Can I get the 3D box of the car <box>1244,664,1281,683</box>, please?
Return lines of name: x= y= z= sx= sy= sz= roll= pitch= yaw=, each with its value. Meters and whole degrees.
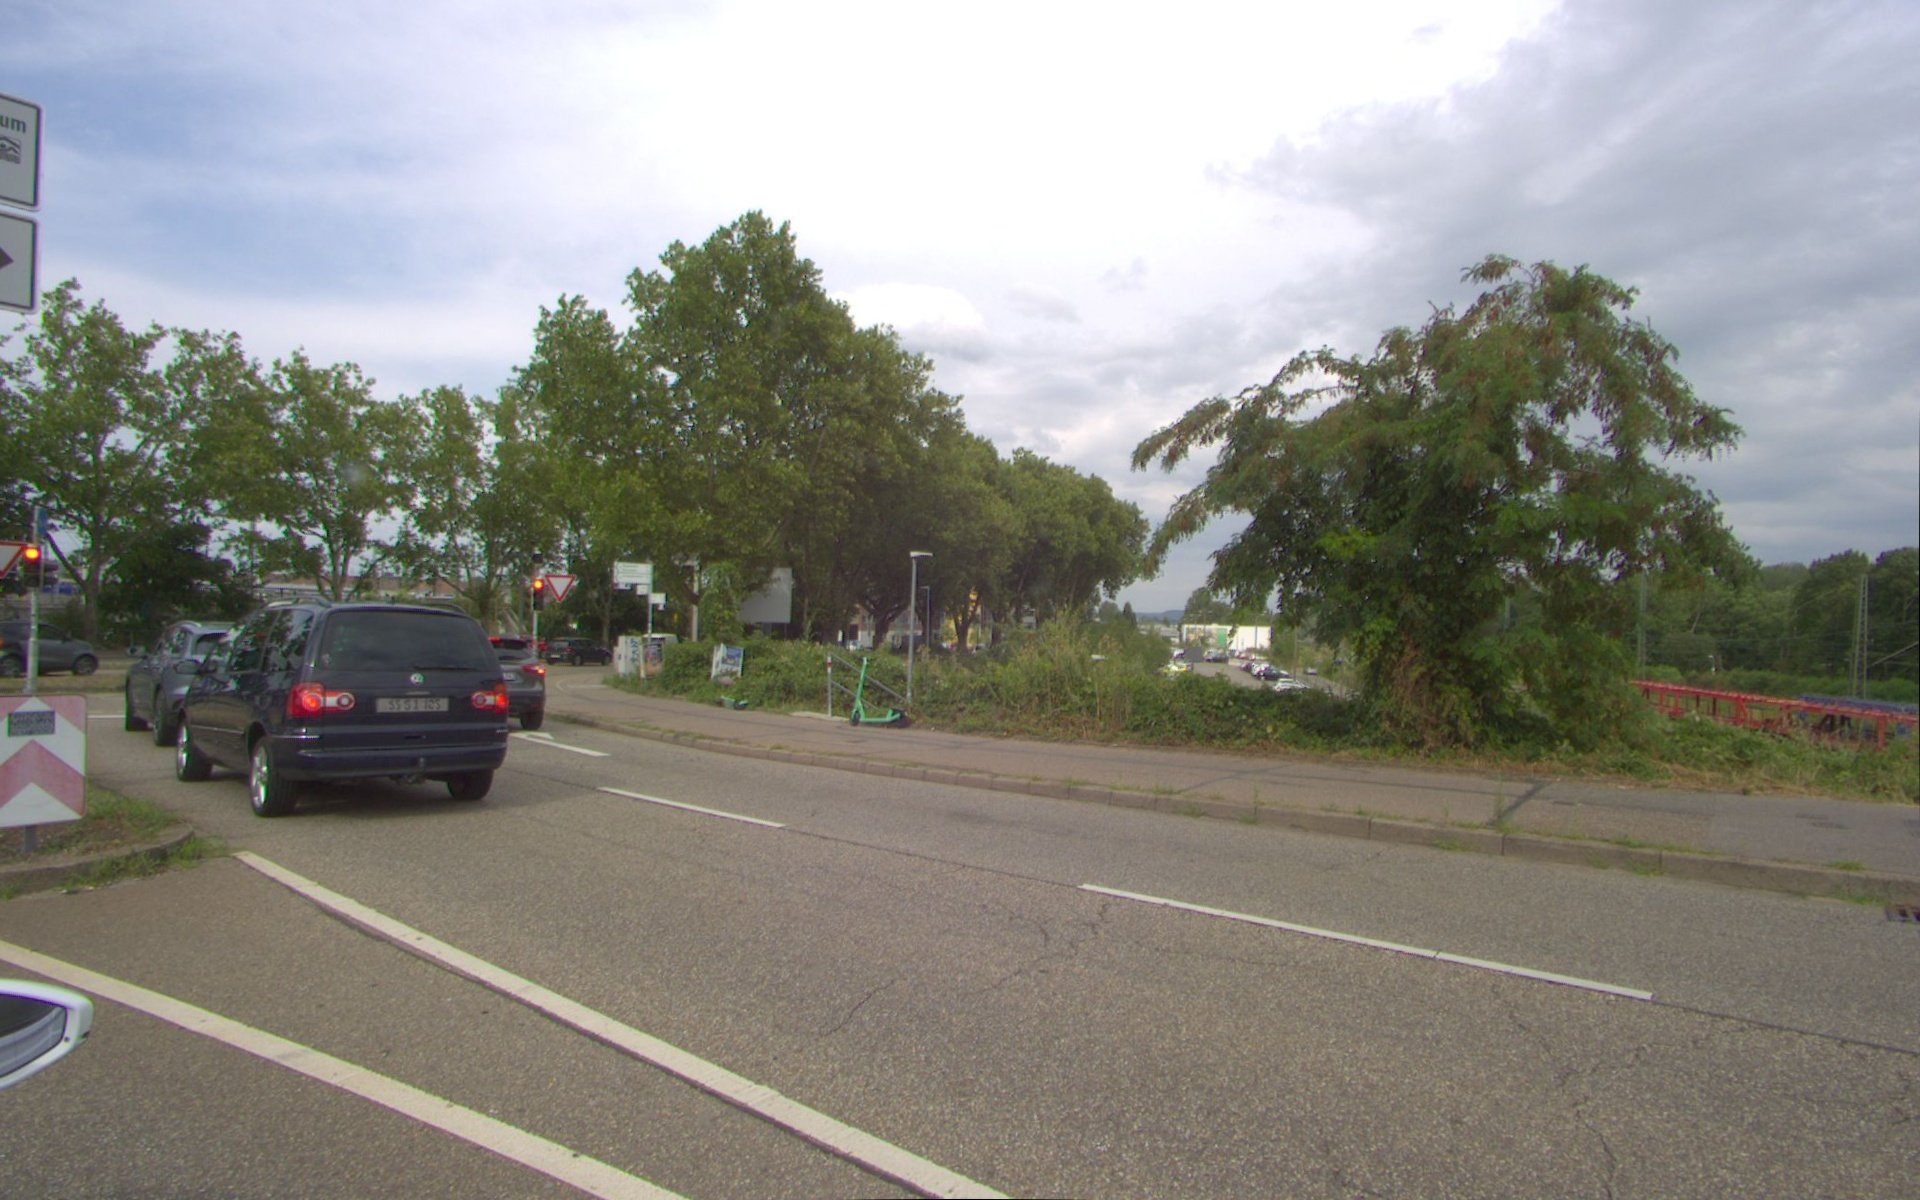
car: x=36.124 y=8.770 z=119.576 sx=3.923 sy=2.040 sz=1.762 roll=1 pitch=-1 yaw=10

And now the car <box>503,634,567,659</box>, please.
car: x=-26.515 y=2.856 z=62.603 sx=1.670 sy=1.466 sz=3.963 roll=1 pitch=-1 yaw=12

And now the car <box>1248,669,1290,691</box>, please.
car: x=32.113 y=8.310 z=104.247 sx=3.923 sy=2.040 sz=1.762 roll=1 pitch=-1 yaw=10

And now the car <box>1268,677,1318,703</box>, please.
car: x=28.972 y=7.830 z=87.183 sx=3.923 sy=2.040 sz=1.762 roll=1 pitch=-1 yaw=10

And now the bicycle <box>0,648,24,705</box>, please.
bicycle: x=-17.196 y=1.315 z=16.683 sx=0.797 sy=0.965 sz=2.232 roll=0 pitch=-1 yaw=17

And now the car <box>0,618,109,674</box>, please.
car: x=-25.389 y=1.236 z=27.518 sx=1.471 sy=1.440 sz=2.719 roll=1 pitch=-1 yaw=12

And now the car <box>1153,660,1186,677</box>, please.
car: x=26.718 y=8.728 z=127.672 sx=3.926 sy=2.040 sz=1.761 roll=1 pitch=-1 yaw=16

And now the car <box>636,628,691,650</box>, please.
car: x=-21.073 y=2.777 z=71.412 sx=1.729 sy=1.466 sz=4.339 roll=0 pitch=-1 yaw=16

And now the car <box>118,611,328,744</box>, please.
car: x=-10.536 y=1.041 z=14.201 sx=4.113 sy=1.604 sz=1.682 roll=-2 pitch=-4 yaw=44

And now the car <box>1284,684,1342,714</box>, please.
car: x=26.894 y=7.524 z=76.369 sx=3.923 sy=2.040 sz=1.762 roll=1 pitch=-1 yaw=10

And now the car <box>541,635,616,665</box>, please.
car: x=-20.205 y=2.630 z=53.184 sx=1.671 sy=1.469 sz=4.068 roll=0 pitch=-2 yaw=14

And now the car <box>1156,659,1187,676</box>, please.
car: x=28.022 y=8.874 z=132.501 sx=3.926 sy=2.040 sz=1.761 roll=1 pitch=-1 yaw=16

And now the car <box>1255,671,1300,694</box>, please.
car: x=31.227 y=8.155 z=98.589 sx=3.923 sy=2.040 sz=1.762 roll=1 pitch=-1 yaw=10

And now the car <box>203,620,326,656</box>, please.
car: x=-30.639 y=1.659 z=44.277 sx=1.729 sy=1.466 sz=4.339 roll=0 pitch=-1 yaw=16

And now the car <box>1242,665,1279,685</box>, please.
car: x=34.700 y=8.642 z=115.631 sx=3.923 sy=2.040 sz=1.762 roll=1 pitch=-1 yaw=10

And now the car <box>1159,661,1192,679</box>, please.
car: x=26.848 y=8.663 z=124.773 sx=3.926 sy=2.040 sz=1.761 roll=1 pitch=-1 yaw=16

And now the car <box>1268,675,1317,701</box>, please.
car: x=30.025 y=7.934 z=90.496 sx=3.923 sy=2.040 sz=1.762 roll=1 pitch=-1 yaw=10

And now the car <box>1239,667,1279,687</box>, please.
car: x=32.903 y=8.471 z=110.276 sx=3.923 sy=2.040 sz=1.762 roll=1 pitch=-1 yaw=10

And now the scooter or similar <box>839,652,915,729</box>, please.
scooter or similar: x=-1.368 y=1.465 z=16.444 sx=1.262 sy=1.198 sz=0.396 roll=-1 pitch=-1 yaw=32

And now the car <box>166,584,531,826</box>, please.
car: x=-5.788 y=0.856 z=9.273 sx=4.092 sy=1.746 sz=1.743 roll=-1 pitch=-4 yaw=42

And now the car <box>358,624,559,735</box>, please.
car: x=-8.653 y=1.301 z=17.126 sx=4.094 sy=1.663 sz=1.742 roll=-2 pitch=-4 yaw=44

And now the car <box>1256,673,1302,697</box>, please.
car: x=30.176 y=8.040 z=94.817 sx=3.923 sy=2.040 sz=1.762 roll=1 pitch=-1 yaw=10
